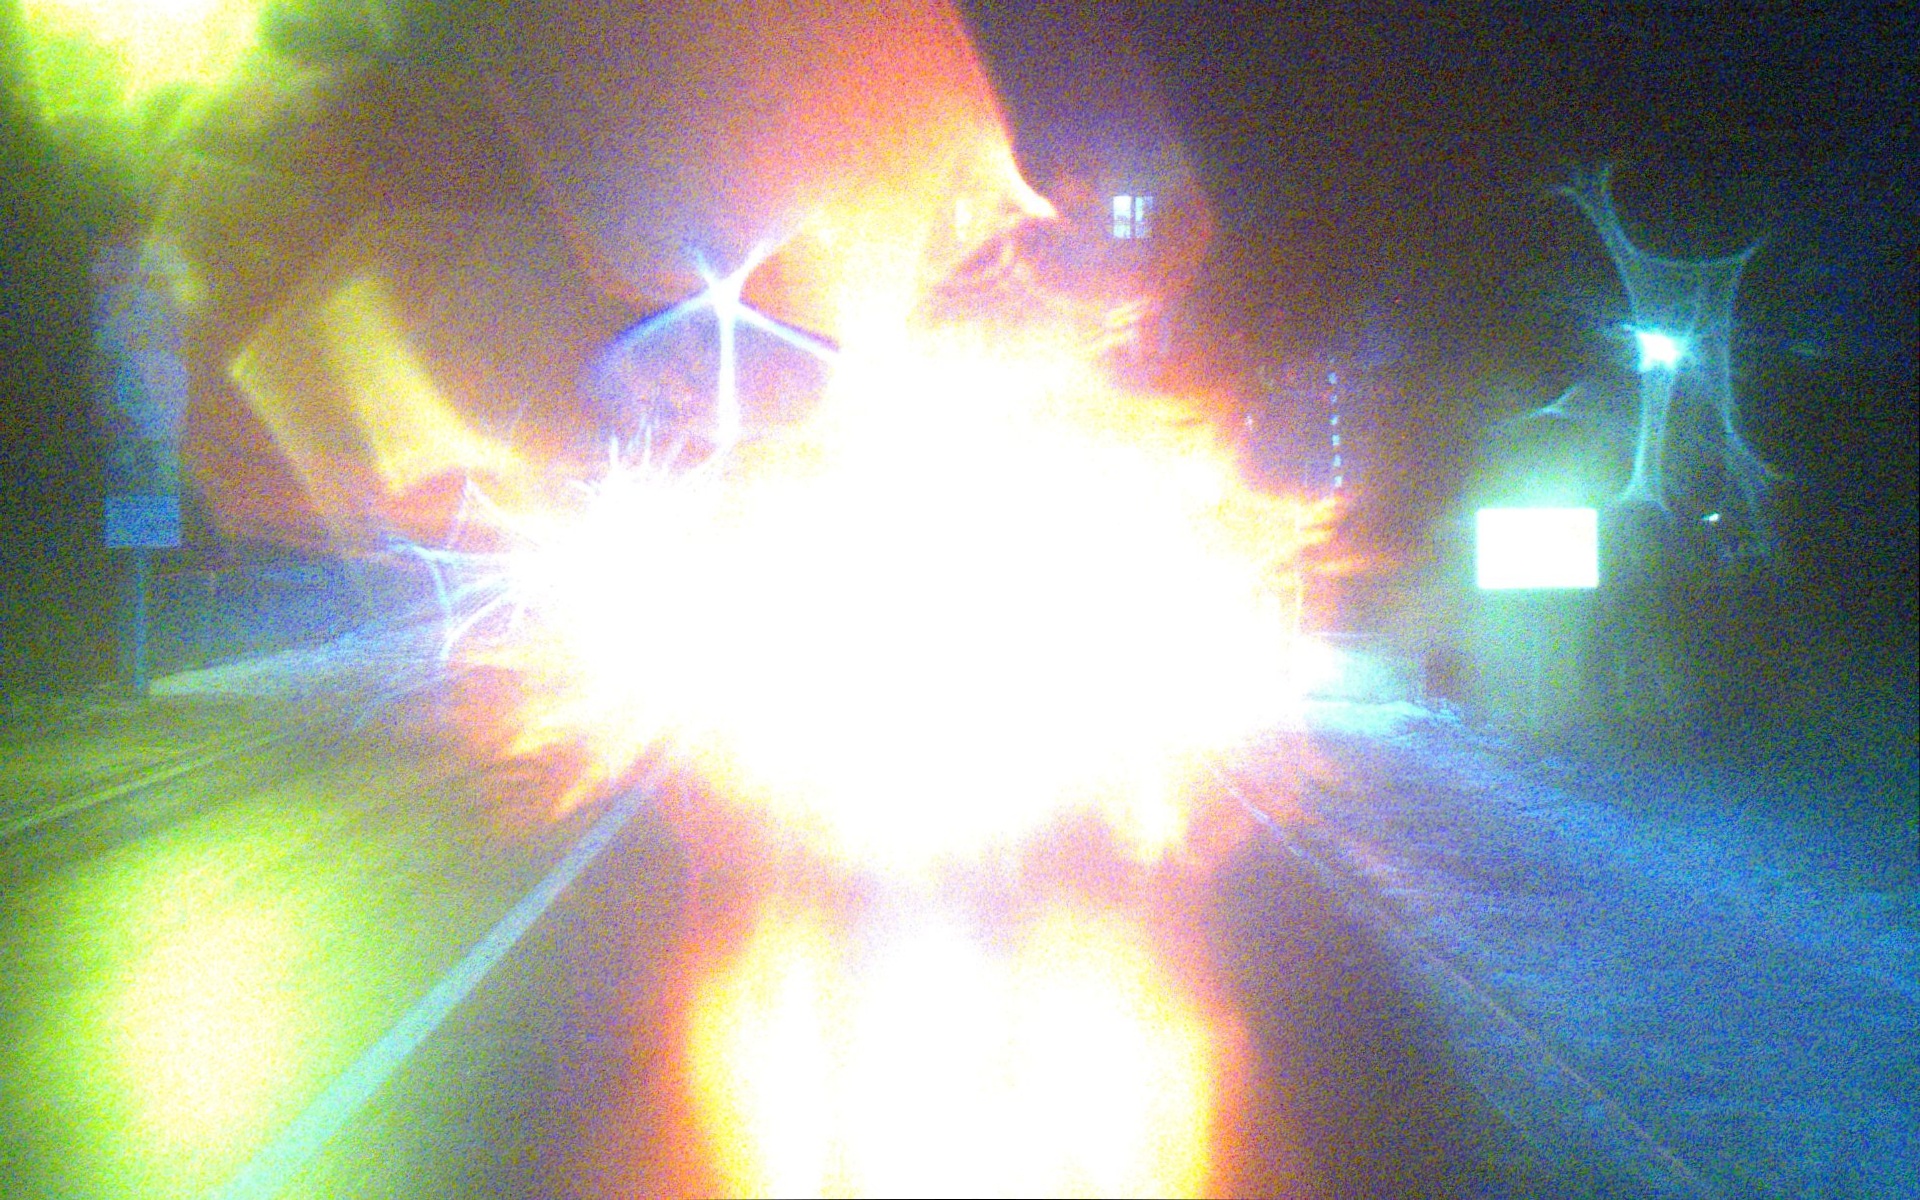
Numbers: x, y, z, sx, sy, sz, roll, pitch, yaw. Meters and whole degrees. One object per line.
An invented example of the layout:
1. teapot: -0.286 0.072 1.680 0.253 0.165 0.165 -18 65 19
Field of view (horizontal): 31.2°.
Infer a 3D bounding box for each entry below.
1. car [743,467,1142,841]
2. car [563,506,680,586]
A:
1. car: -0.021 0.208 17.591 1.791 1.675 3.904 -1 1 2
2. car: -7.108 -1.131 72.584 1.874 1.540 4.355 -3 1 1
